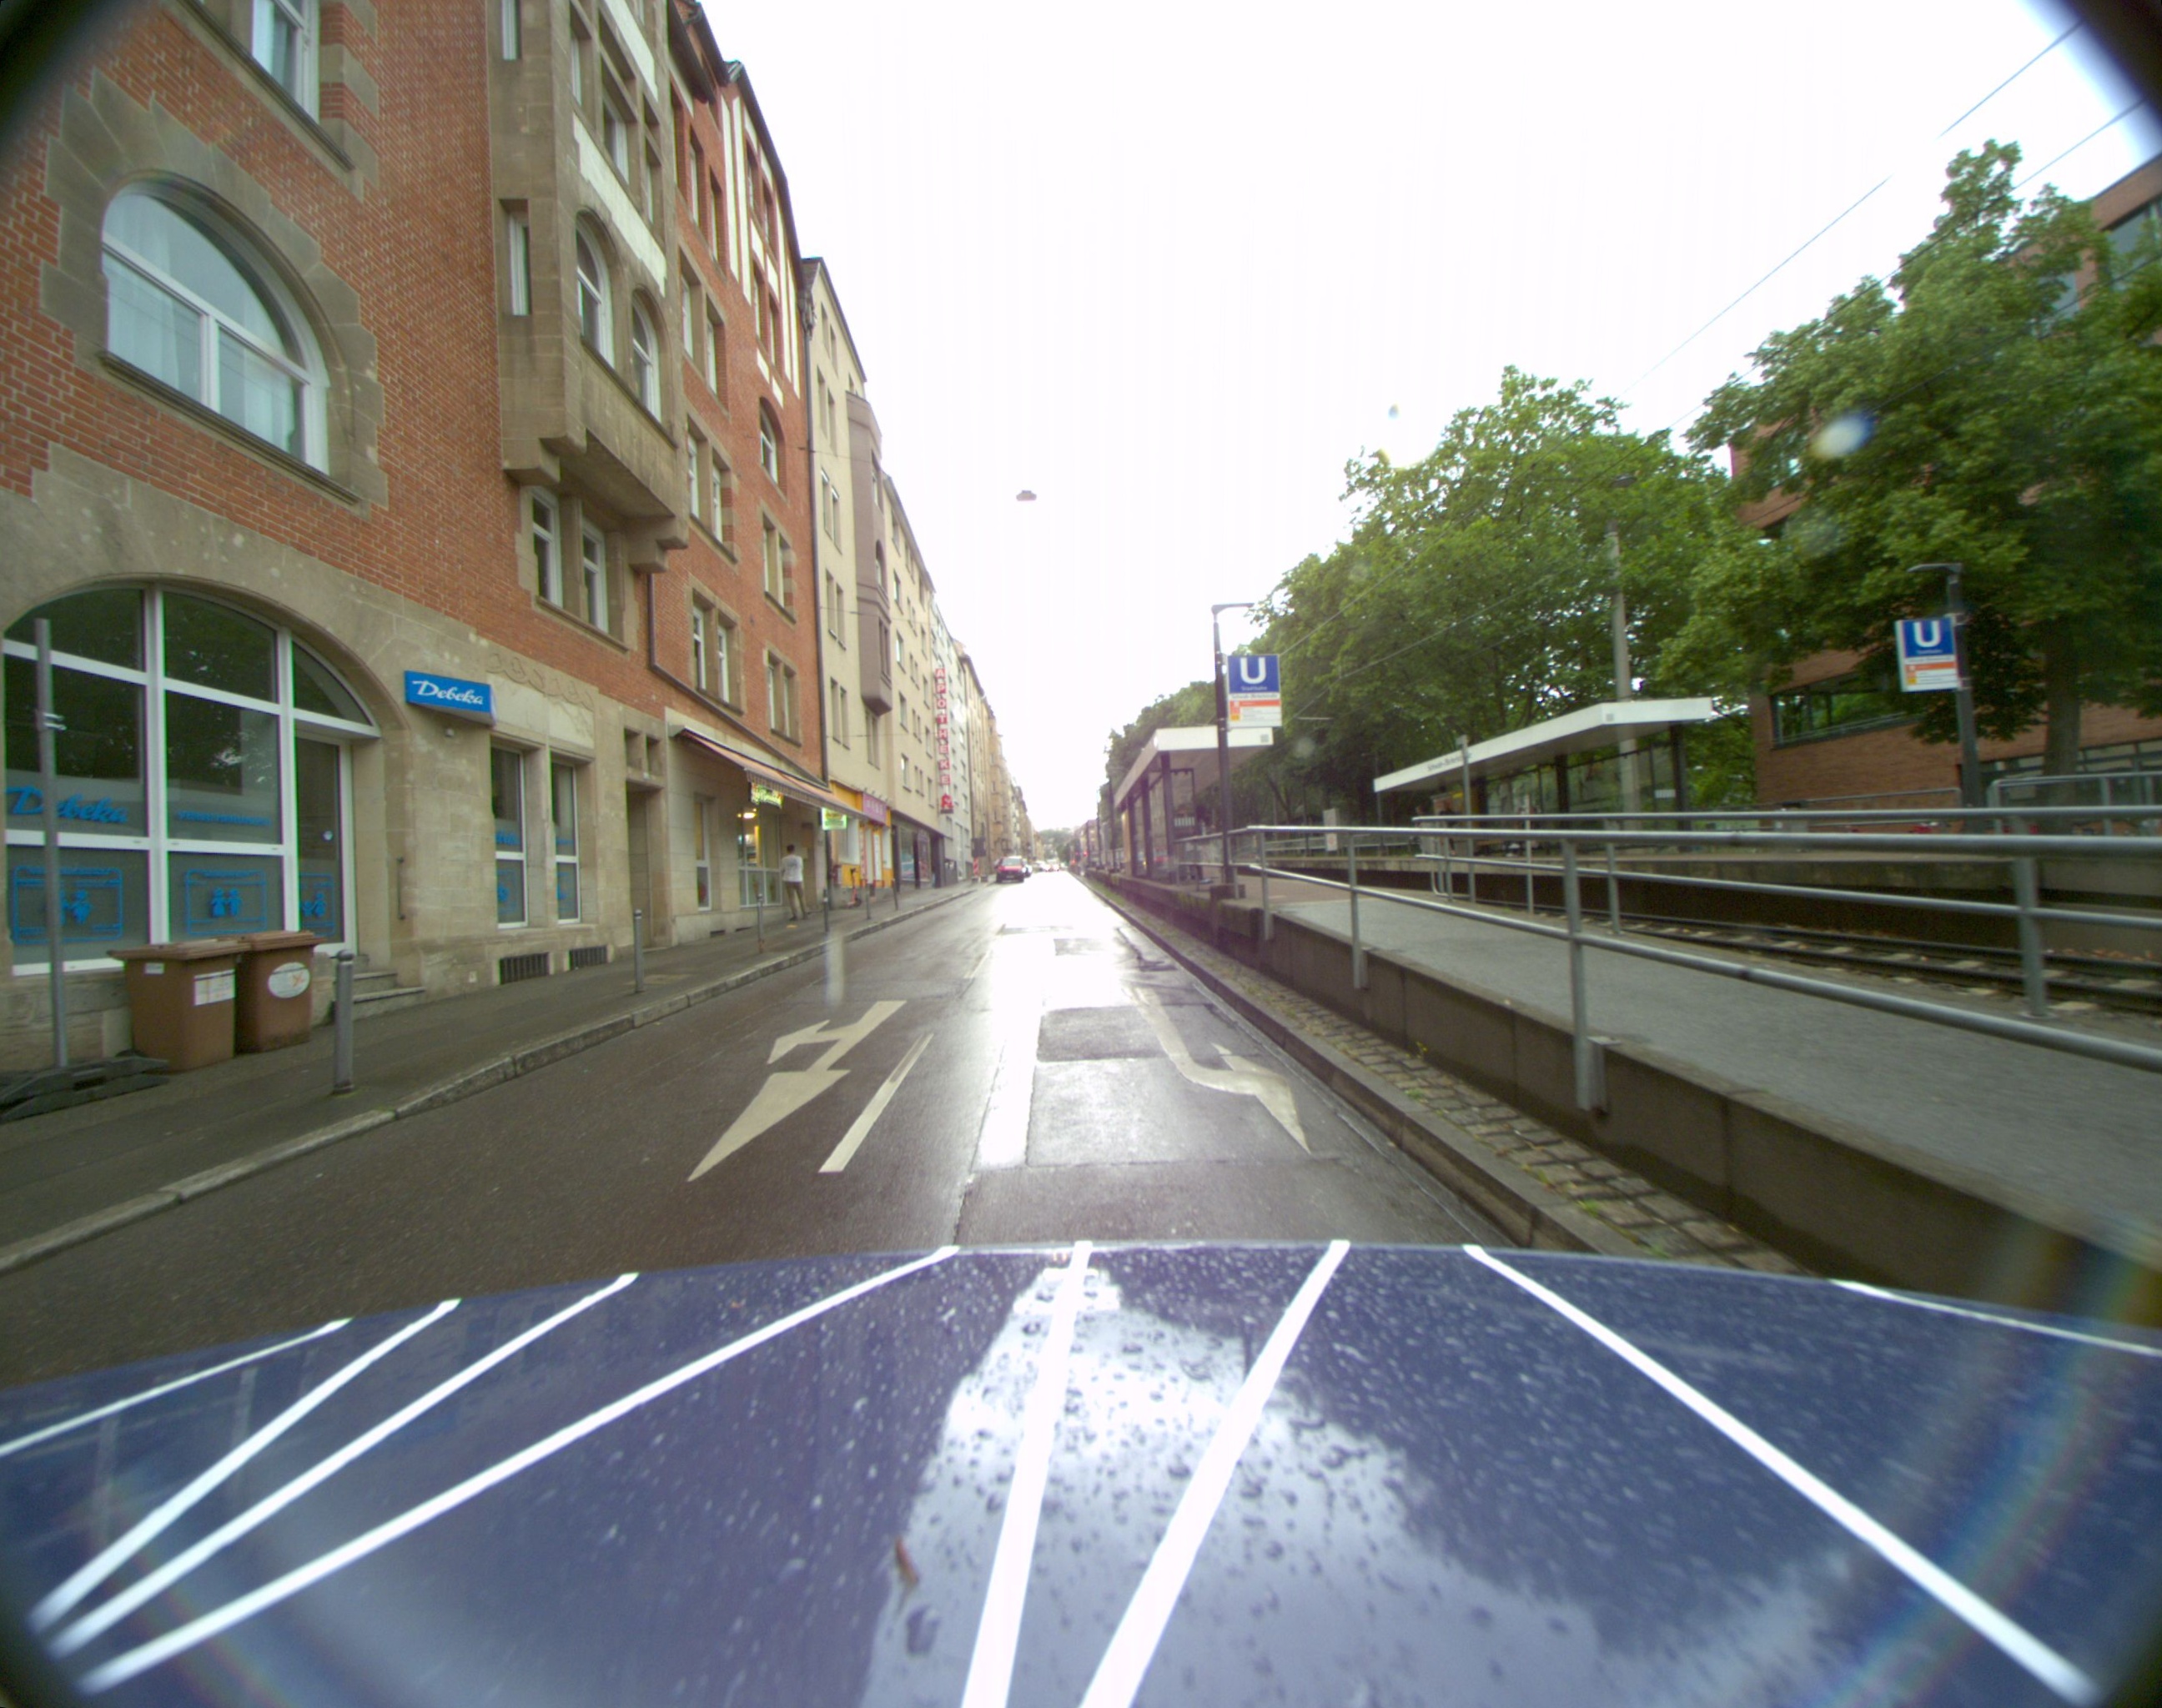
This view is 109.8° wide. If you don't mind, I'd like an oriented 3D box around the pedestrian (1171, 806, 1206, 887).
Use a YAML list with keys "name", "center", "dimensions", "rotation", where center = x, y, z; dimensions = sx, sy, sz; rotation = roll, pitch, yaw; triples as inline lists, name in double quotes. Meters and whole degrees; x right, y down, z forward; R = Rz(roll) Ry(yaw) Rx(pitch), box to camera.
- name: "pedestrian"
  center: [2.315, -0.162, 16.399]
  dimensions: [0.615, 1.678, 0.587]
  rotation: [-3, 0, 2]

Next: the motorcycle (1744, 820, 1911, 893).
- name: "motorcycle"
  center: [21.243, 0.066, 21.656]
  dimensions: [3.875, 1.805, 1.006]
  rotation: [-3, 1, -3]

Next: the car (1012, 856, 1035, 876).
- name: "car"
  center: [-5.275, 1.119, 70.470]
  dimensions: [1.770, 1.698, 4.499]
  rotation: [-3, -1, -1]

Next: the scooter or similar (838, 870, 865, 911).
- name: "scooter or similar"
  center: [-7.089, 1.099, 23.484]
  dimensions: [0.258, 1.214, 1.195]
  rotation: [-3, -1, 8]

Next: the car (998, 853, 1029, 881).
- name: "car"
  center: [-4.801, 0.909, 54.714]
  dimensions: [1.980, 1.827, 5.243]
  rotation: [-2, 0, -4]

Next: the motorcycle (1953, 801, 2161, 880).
- name: "motorcycle"
  center: [21.440, -0.300, 16.553]
  dimensions: [3.875, 1.479, 1.006]
  rotation: [-3, 1, -3]

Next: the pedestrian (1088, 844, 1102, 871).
- name: "pedestrian"
  center: [0.953, 0.229, 52.953]
  dimensions: [0.861, 1.788, 0.787]
  rotation: [-3, 0, -2]

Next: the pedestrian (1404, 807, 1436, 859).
- name: "pedestrian"
  center: [11.097, -0.672, 24.898]
  dimensions: [0.688, 1.631, 0.564]
  rotation: [-4, 0, -4]

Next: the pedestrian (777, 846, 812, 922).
- name: "pedestrian"
  center: [-7.029, 0.725, 18.639]
  dimensions: [0.562, 1.820, 0.580]
  rotation: [2, 2, 38]

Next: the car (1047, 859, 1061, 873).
- name: "car"
  center: [-3.403, 1.493, 95.194]
  dimensions: [1.621, 1.592, 4.067]
  rotation: [-2, -2, -2]

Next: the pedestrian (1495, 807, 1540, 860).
- name: "pedestrian"
  center: [11.710, -0.542, 20.390]
  dimensions: [0.779, 1.354, 0.564]
  rotation: [-4, 0, -4]

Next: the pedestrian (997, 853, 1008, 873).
- name: "pedestrian"
  center: [-7.167, 0.816, 69.533]
  dimensions: [0.853, 1.747, 0.837]
  rotation: [-4, 0, -1]

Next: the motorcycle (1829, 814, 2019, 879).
- name: "motorcycle"
  center: [21.338, -0.200, 19.278]
  dimensions: [3.875, 1.399, 1.006]
  rotation: [-3, 1, -3]

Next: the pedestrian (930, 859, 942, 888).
- name: "pedestrian"
  center: [-8.175, 1.111, 42.908]
  dimensions: [0.483, 1.635, 0.330]
  rotation: [-4, 1, -33]

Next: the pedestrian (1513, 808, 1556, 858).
- name: "pedestrian"
  center: [11.806, -0.542, 19.787]
  dimensions: [0.705, 1.233, 0.564]
  rotation: [-4, 0, -4]

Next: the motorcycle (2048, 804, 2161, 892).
- name: "motorcycle"
  center: [21.393, -0.166, 15.153]
  dimensions: [3.067, 1.618, 1.006]
  rotation: [-3, 1, -3]

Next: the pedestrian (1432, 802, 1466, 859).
- name: "pedestrian"
  center: [11.315, -0.716, 23.362]
  dimensions: [0.564, 1.705, 0.705]
  rotation: [-4, 0, -4]

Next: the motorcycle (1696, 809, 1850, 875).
- name: "motorcycle"
  center: [21.042, -0.363, 23.150]
  dimensions: [3.875, 1.763, 1.006]
  rotation: [-3, 1, -3]

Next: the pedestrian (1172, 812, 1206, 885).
- name: "pedestrian"
  center: [2.409, -0.115, 17.006]
  dimensions: [0.615, 1.572, 0.507]
  rotation: [-3, 0, 2]

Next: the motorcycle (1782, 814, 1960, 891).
- name: "motorcycle"
  center: [21.279, -0.051, 20.508]
  dimensions: [3.875, 1.805, 1.006]
  rotation: [-3, 1, -3]

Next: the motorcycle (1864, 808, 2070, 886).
- name: "motorcycle"
  center: [21.015, -0.169, 18.068]
  dimensions: [3.875, 1.596, 1.006]
  rotation: [-3, 1, -3]

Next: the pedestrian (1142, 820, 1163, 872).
- name: "pedestrian"
  center: [2.303, -0.253, 24.340]
  dimensions: [0.496, 1.595, 0.637]
  rotation: [-2, 1, 15]

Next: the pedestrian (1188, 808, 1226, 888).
- name: "pedestrian"
  center: [2.531, -0.116, 15.326]
  dimensions: [0.615, 1.572, 0.507]
  rotation: [-3, 0, 2]

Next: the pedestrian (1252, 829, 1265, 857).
- name: "pedestrian"
  center: [10.355, -0.633, 44.417]
  dimensions: [0.563, 1.631, 0.689]
  rotation: [-4, 0, 5]
